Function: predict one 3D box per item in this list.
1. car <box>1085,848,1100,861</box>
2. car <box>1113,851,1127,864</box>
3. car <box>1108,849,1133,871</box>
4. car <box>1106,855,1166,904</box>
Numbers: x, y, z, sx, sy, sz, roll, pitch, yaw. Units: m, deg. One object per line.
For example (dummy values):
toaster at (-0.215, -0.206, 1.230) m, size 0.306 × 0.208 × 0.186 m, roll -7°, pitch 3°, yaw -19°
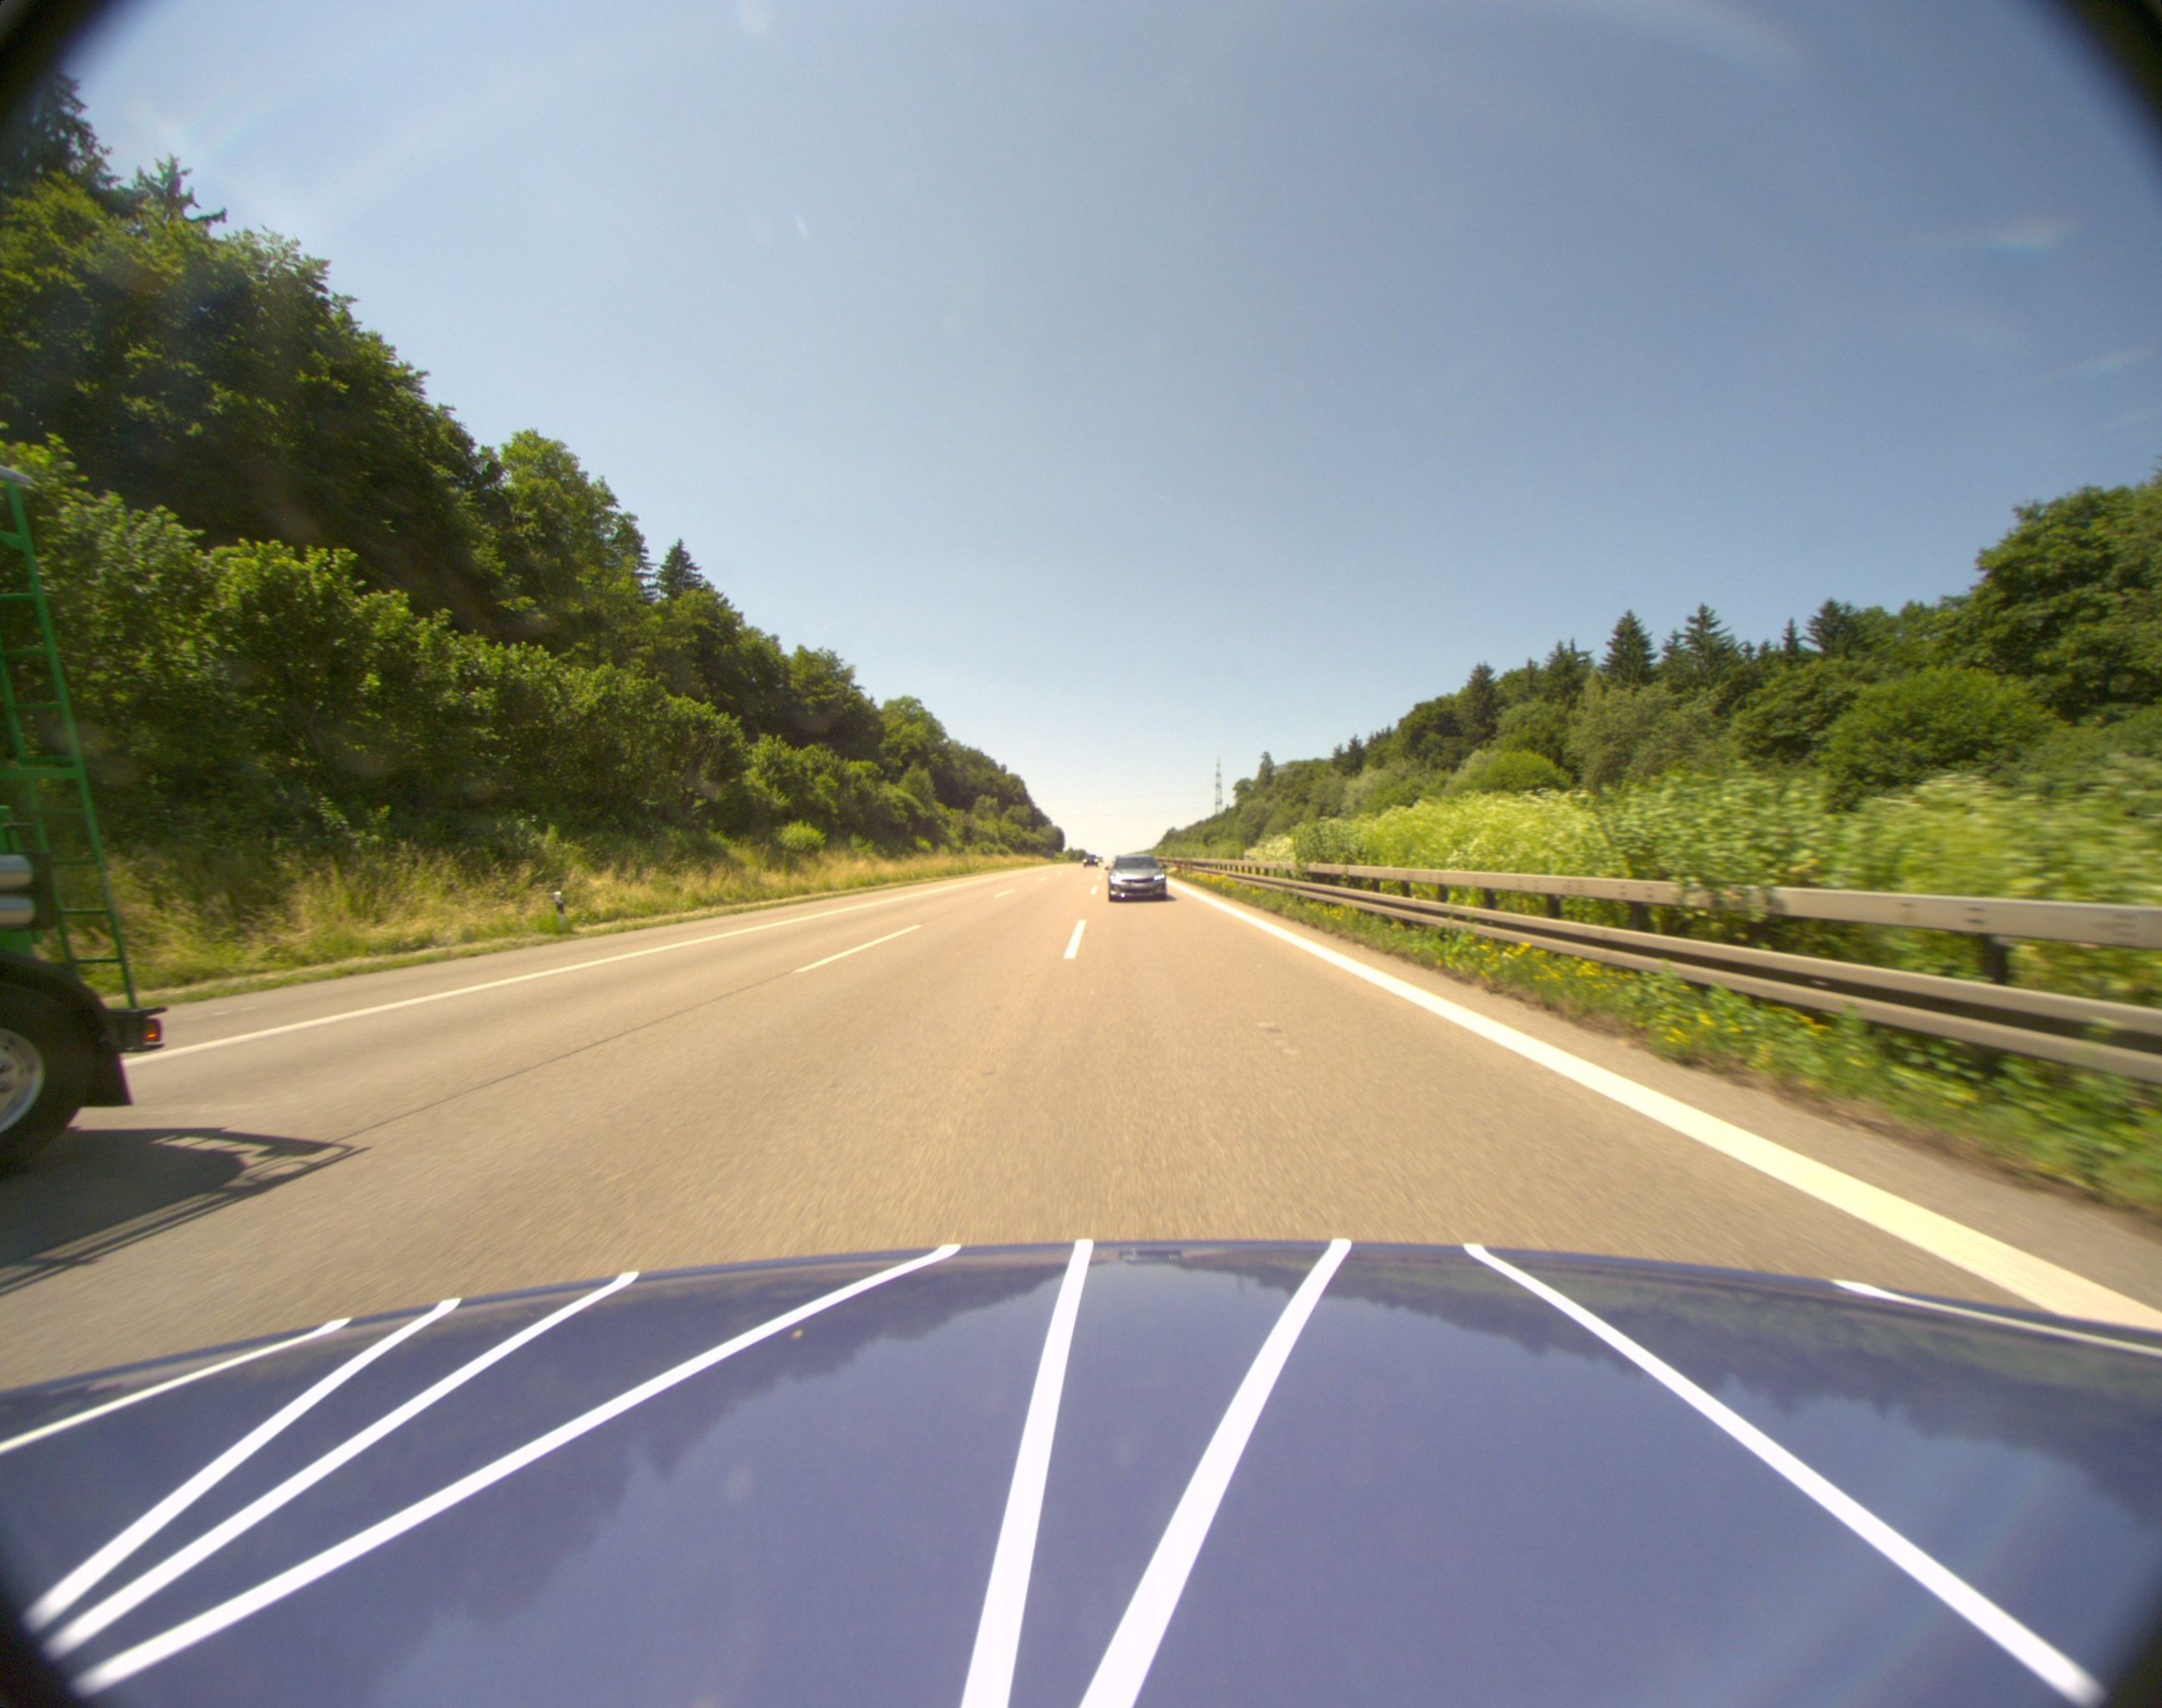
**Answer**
car at (1.473, 0.028, 99.025) m, size 1.787 × 1.550 × 3.943 m, roll -2°, pitch 0°, yaw 1°
car at (5.997, 0.526, 116.852) m, size 1.875 × 2.002 × 4.000 m, roll -2°, pitch 0°, yaw 1°
car at (3.080, 0.474, 59.607) m, size 1.741 × 1.610 × 3.943 m, roll -2°, pitch 0°, yaw 1°
car at (1.754, 0.774, 24.875) m, size 1.768 × 1.400 × 4.000 m, roll -2°, pitch 0°, yaw 3°
